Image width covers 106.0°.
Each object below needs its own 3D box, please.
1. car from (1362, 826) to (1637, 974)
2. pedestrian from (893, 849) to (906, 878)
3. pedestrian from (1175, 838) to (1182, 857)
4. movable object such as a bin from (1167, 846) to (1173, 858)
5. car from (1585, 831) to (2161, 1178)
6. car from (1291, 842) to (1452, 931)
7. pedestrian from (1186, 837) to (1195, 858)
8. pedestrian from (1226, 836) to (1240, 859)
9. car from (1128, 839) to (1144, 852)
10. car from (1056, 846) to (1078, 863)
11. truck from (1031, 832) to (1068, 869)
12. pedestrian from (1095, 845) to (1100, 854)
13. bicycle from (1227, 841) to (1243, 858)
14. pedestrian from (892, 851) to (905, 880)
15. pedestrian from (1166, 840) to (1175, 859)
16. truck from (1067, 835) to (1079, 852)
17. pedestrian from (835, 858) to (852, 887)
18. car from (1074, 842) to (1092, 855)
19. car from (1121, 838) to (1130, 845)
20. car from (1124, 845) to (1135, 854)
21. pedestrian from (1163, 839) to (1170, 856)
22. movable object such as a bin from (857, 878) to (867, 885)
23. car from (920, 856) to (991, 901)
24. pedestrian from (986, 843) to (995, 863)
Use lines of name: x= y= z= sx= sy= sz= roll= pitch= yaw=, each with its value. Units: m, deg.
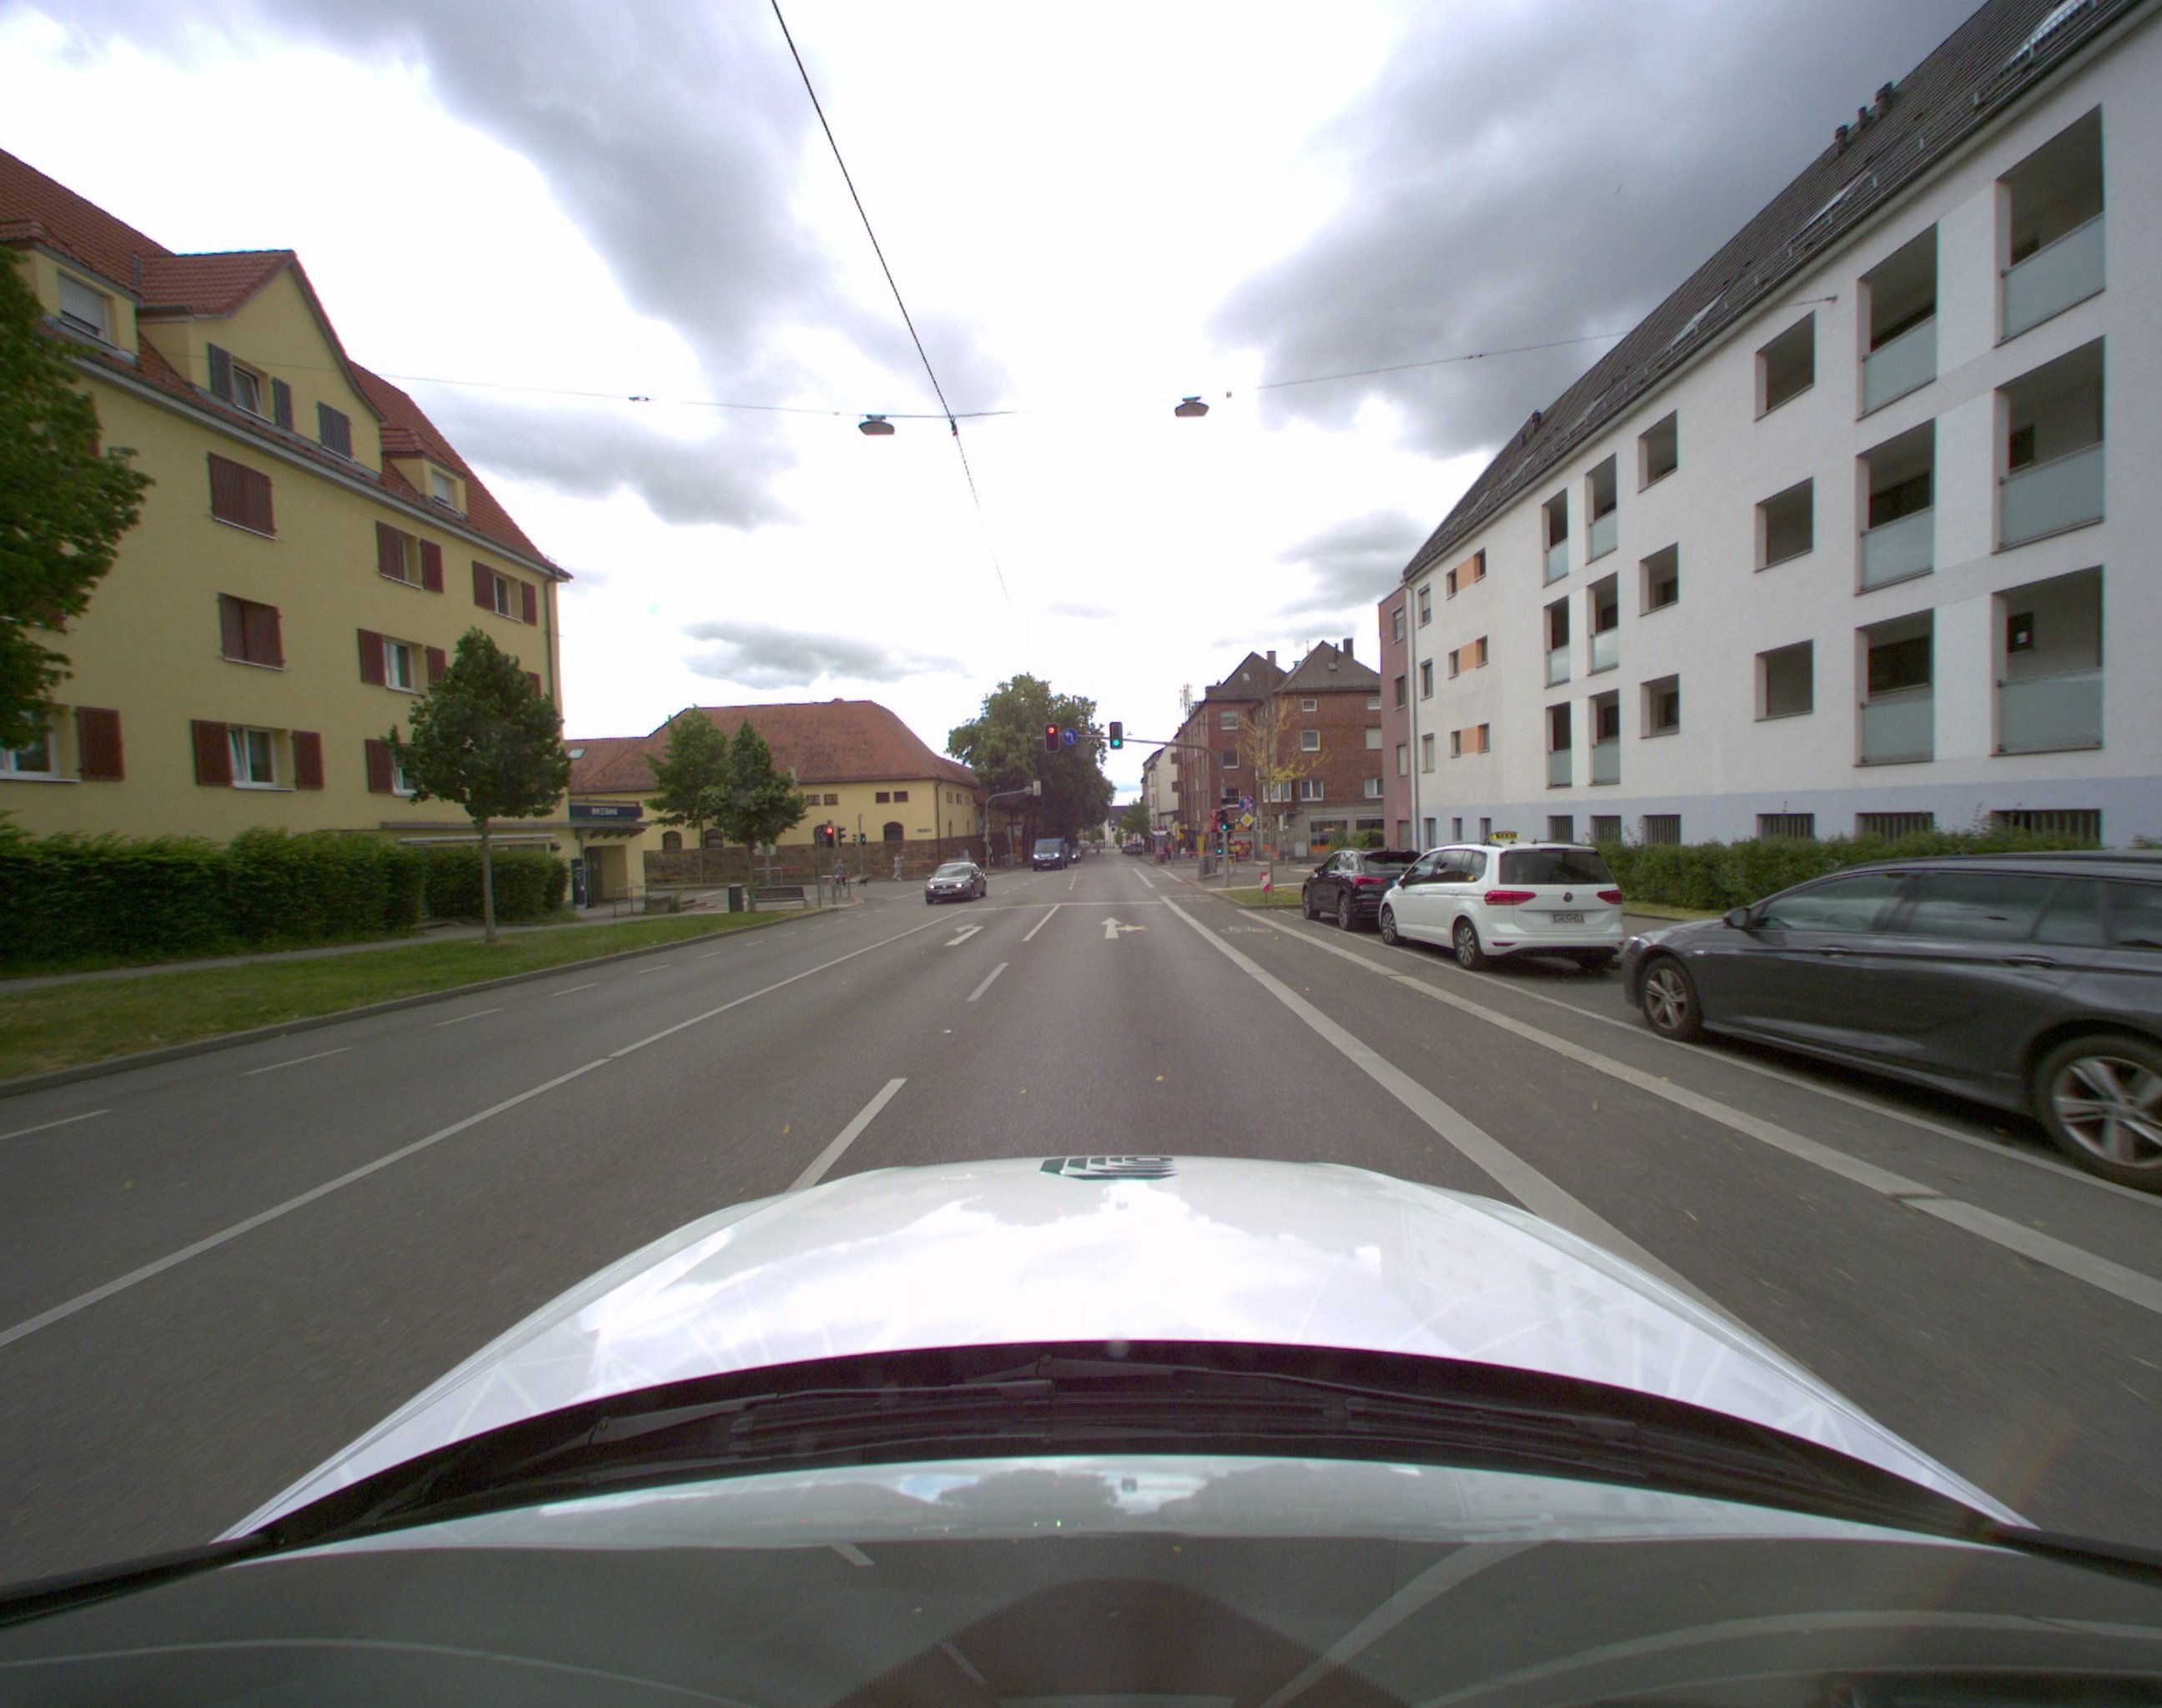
car: x=5.667 y=0.513 z=11.767 sx=1.653 sy=1.715 sz=4.552 roll=0 pitch=1 yaw=0
pedestrian: x=-11.522 y=0.585 z=51.578 sx=0.562 sy=1.777 sz=0.842 roll=-2 pitch=0 yaw=1
pedestrian: x=9.215 y=-0.634 z=76.954 sx=0.477 sy=1.765 sz=0.458 roll=-2 pitch=0 yaw=1
movable object such as a bin: x=7.967 y=-0.182 z=72.767 sx=0.449 sy=1.056 sz=0.412 roll=-2 pitch=0 yaw=21
car: x=5.438 y=0.612 z=4.936 sx=1.740 sy=1.467 sz=4.949 roll=0 pitch=1 yaw=0
car: x=5.804 y=0.588 z=16.886 sx=1.729 sy=1.588 sz=4.572 roll=0 pitch=0 yaw=0
pedestrian: x=9.436 y=-0.589 z=70.218 sx=0.644 sy=1.750 sz=0.779 roll=-2 pitch=0 yaw=7
pedestrian: x=11.149 y=-0.475 z=59.748 sx=0.785 sy=1.656 sz=0.773 roll=-4 pitch=0 yaw=2
car: x=8.498 y=-1.256 z=125.504 sx=1.988 sy=1.935 sz=4.917 roll=-2 pitch=1 yaw=-1
car: x=-1.261 y=0.001 z=76.060 sx=1.695 sy=1.414 sz=4.196 roll=-3 pitch=1 yaw=3
truck: x=-2.263 y=-0.298 z=60.056 sx=2.288 sy=2.427 sz=6.411 roll=-3 pitch=1 yaw=0
pedestrian: x=2.962 y=-0.841 z=144.361 sx=0.675 sy=1.536 sz=0.606 roll=-2 pitch=0 yaw=-24
bicycle: x=11.266 y=-0.367 z=59.552 sx=0.757 sy=1.193 sz=2.393 roll=-2 pitch=1 yaw=2
pedestrian: x=-11.372 y=0.727 z=50.716 sx=0.562 sy=1.777 sz=0.717 roll=-2 pitch=0 yaw=1
pedestrian: x=8.043 y=-0.401 z=72.938 sx=0.560 sy=1.636 sz=0.684 roll=-2 pitch=0 yaw=22
truck: x=-1.529 y=-2.067 z=161.787 sx=2.223 sy=3.346 sz=7.451 roll=-2 pitch=1 yaw=1
pedestrian: x=-13.131 y=1.003 z=44.959 sx=0.561 sy=1.566 sz=0.844 roll=-2 pitch=0 yaw=7
car: x=0.229 y=-0.611 z=88.326 sx=1.678 sy=1.275 sz=4.099 roll=-4 pitch=0 yaw=4
car: x=9.820 y=-2.701 z=178.774 sx=1.664 sy=1.547 sz=3.755 roll=-2 pitch=1 yaw=-1
car: x=8.858 y=-0.789 z=148.879 sx=1.664 sy=1.547 sz=3.755 roll=-2 pitch=1 yaw=-1
pedestrian: x=8.452 y=-0.637 z=80.485 sx=0.666 sy=1.727 sz=0.765 roll=-2 pitch=0 yaw=7
movable object such as a bin: x=-12.330 y=1.528 z=45.847 sx=0.305 sy=0.347 sz=0.582 roll=-2 pitch=1 yaw=7
car: x=-4.763 y=0.882 z=31.526 sx=1.748 sy=1.472 sz=4.311 roll=-3 pitch=1 yaw=4
pedestrian: x=-8.211 y=-0.075 z=73.627 sx=0.672 sy=1.765 sz=0.726 roll=-2 pitch=0 yaw=1
